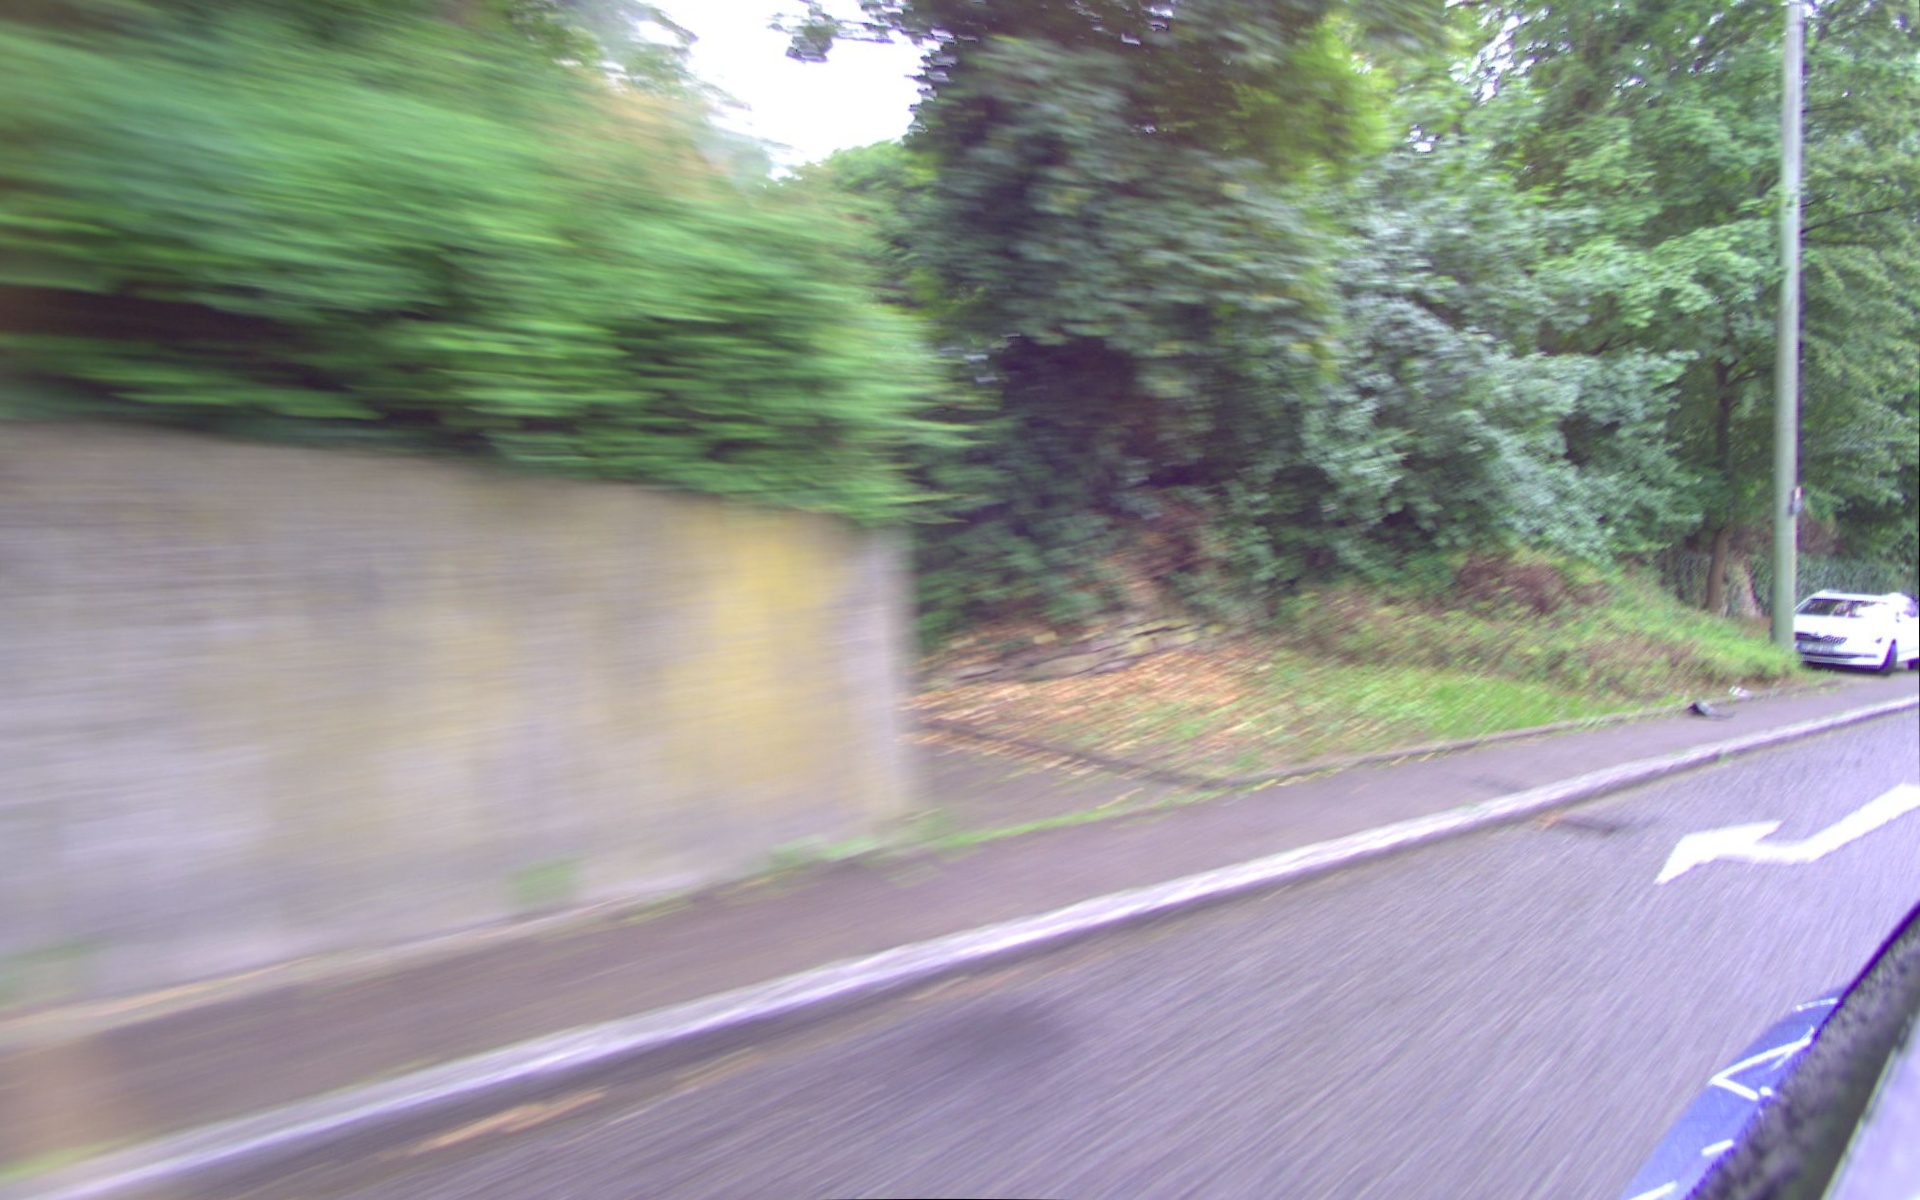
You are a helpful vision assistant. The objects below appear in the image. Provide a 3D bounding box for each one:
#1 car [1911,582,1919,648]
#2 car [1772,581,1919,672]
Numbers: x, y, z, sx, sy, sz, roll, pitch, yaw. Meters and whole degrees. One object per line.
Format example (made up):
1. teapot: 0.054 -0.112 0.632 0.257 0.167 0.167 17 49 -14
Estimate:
1. car: 26.116 0.378 26.008 4.594 1.643 1.770 0 2 -38
2. car: 17.765 0.464 19.785 4.651 1.496 1.745 0 3 -36
